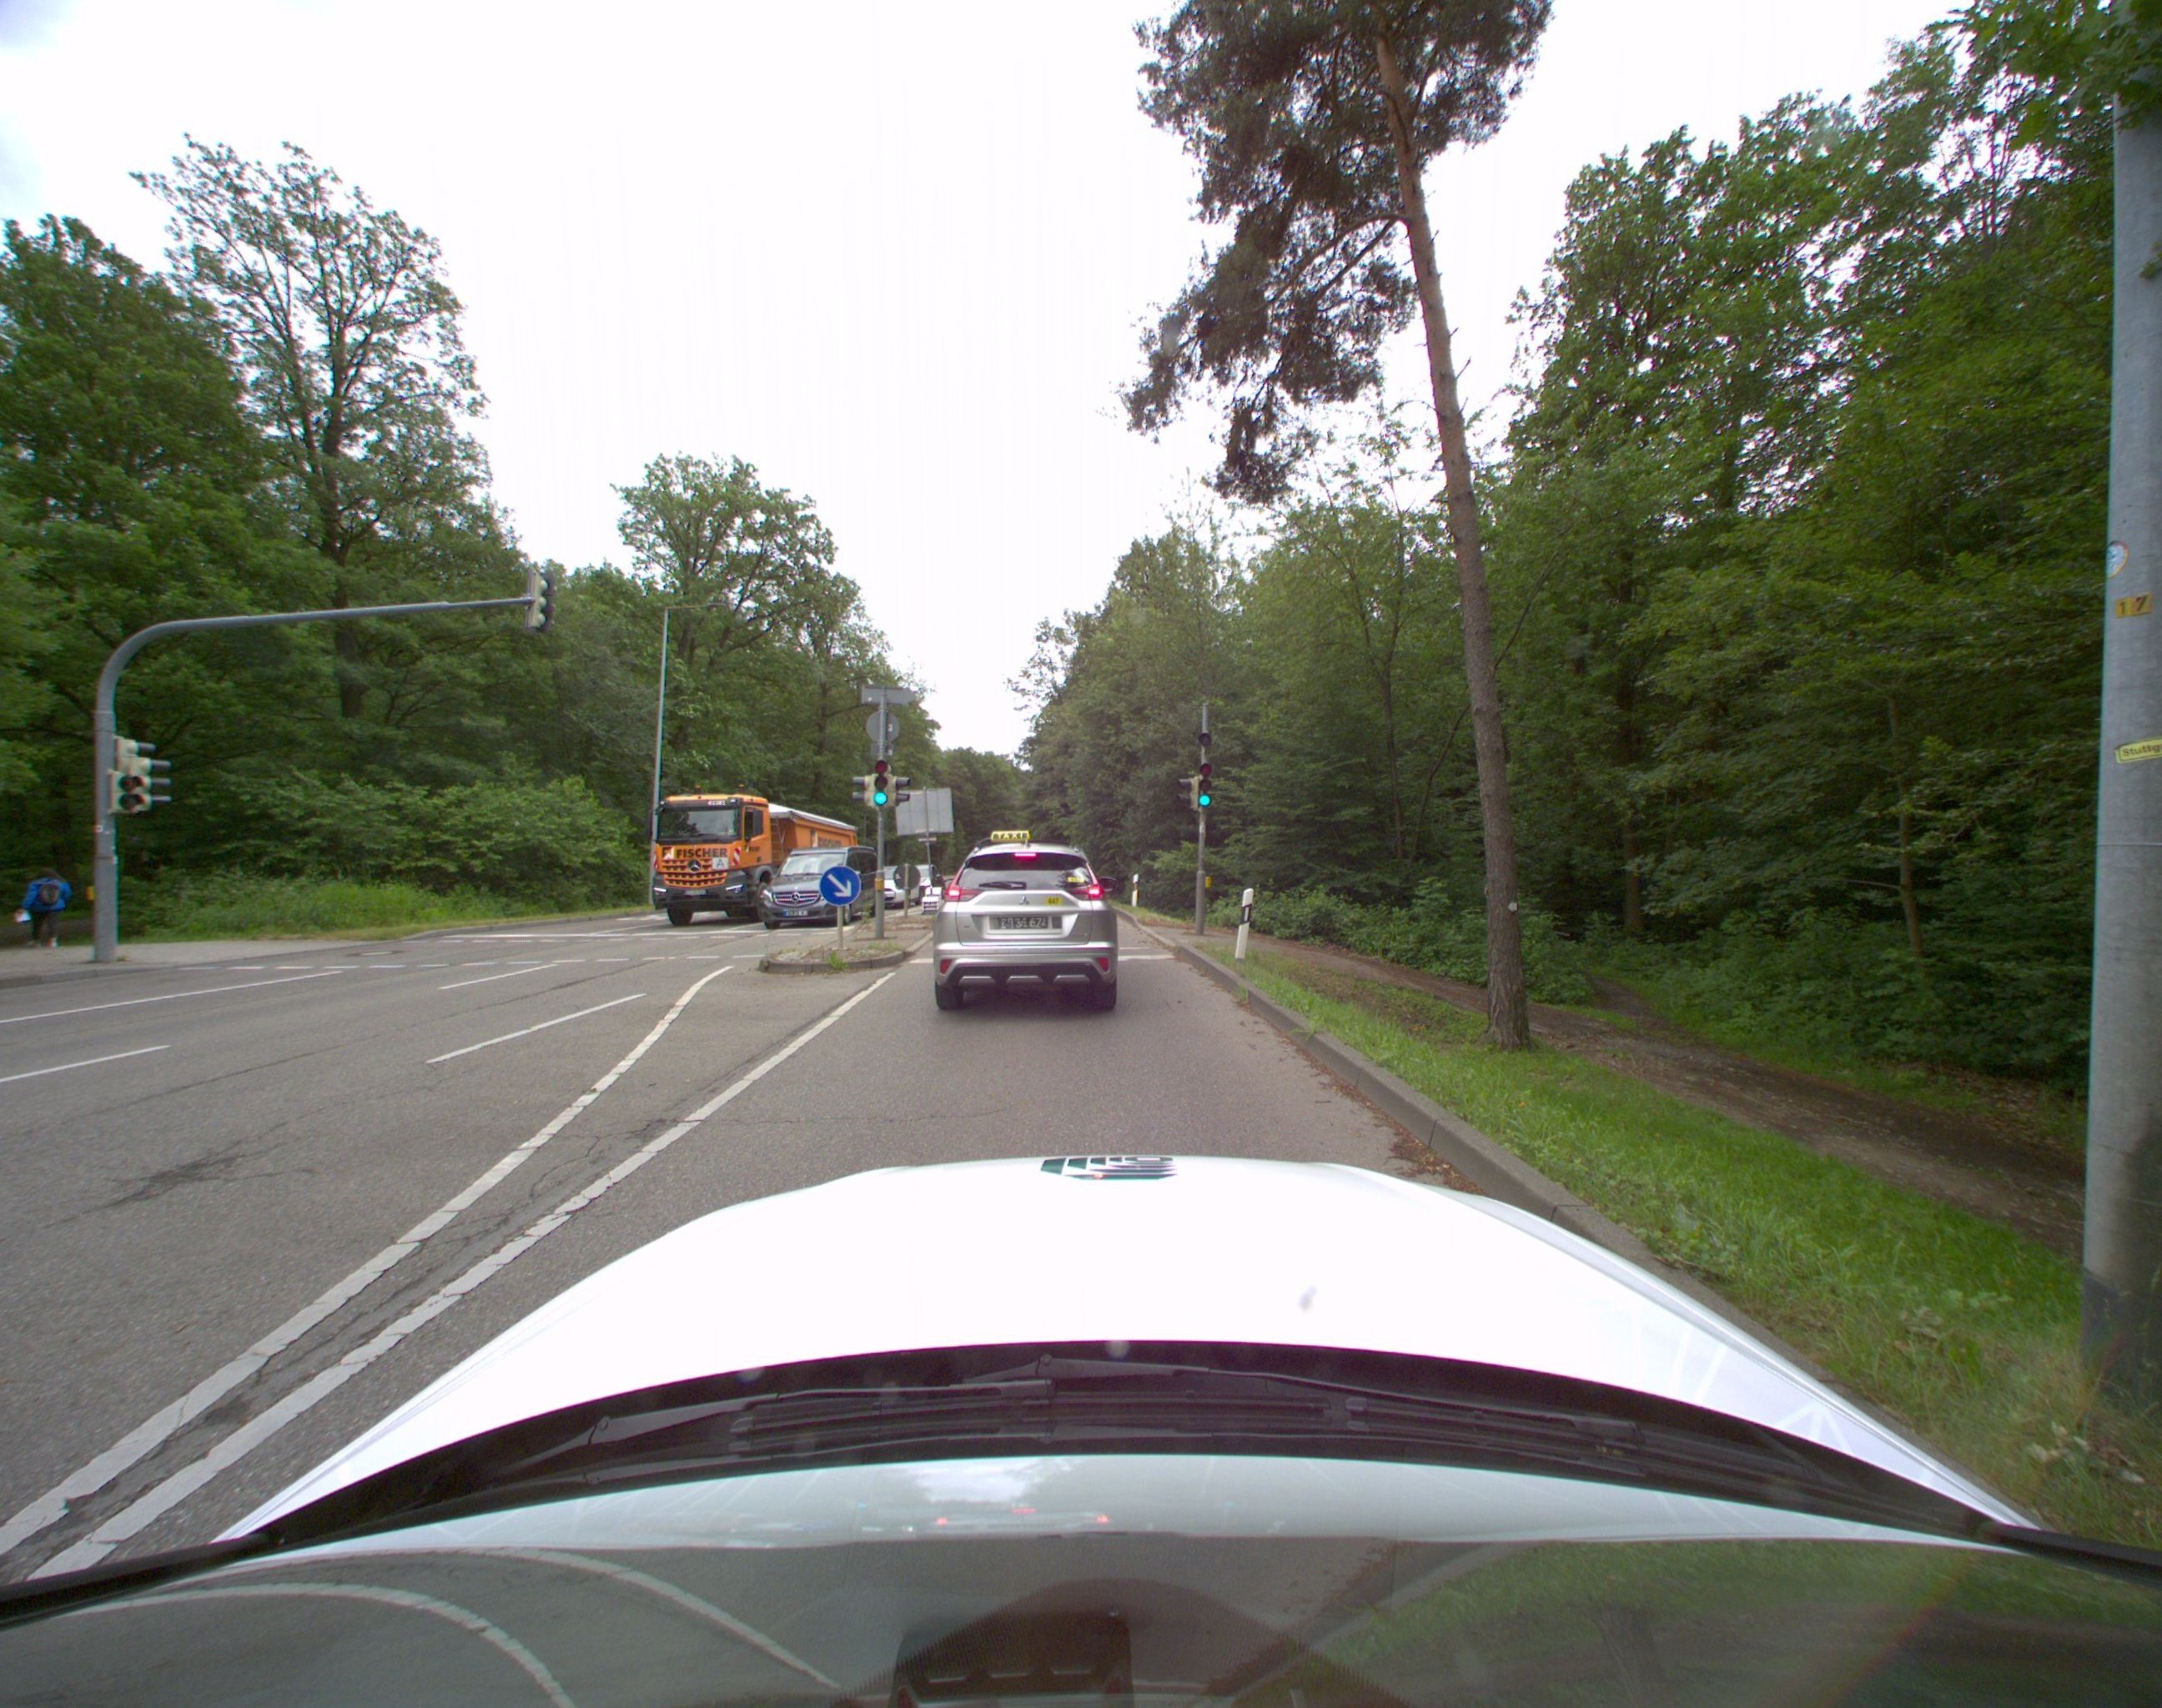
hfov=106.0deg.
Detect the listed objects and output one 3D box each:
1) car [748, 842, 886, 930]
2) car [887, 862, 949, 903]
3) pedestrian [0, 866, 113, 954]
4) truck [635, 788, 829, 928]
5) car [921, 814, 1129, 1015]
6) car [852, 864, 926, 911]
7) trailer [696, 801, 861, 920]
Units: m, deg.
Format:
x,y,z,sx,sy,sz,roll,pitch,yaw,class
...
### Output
x,y,z,sx,sy,sz,roll,pitch,yaw,class
-6.470,0.746,20.593,1.988,1.894,4.835,-2,-1,-2,car
-6.691,1.137,33.800,1.806,1.508,3.720,-3,-1,-1,car
-20.927,1.120,16.608,1.043,1.649,1.070,3,1,3,pedestrian
-9.551,0.167,23.290,2.733,3.318,7.150,-2,-1,-3,truck
-0.625,0.542,9.275,1.843,1.780,3.994,0,0,-4,car
-6.431,1.083,27.668,1.607,1.321,3.720,-3,0,-1,car
-9.782,0.256,27.522,2.733,3.318,8.558,-2,-1,-3,trailer
